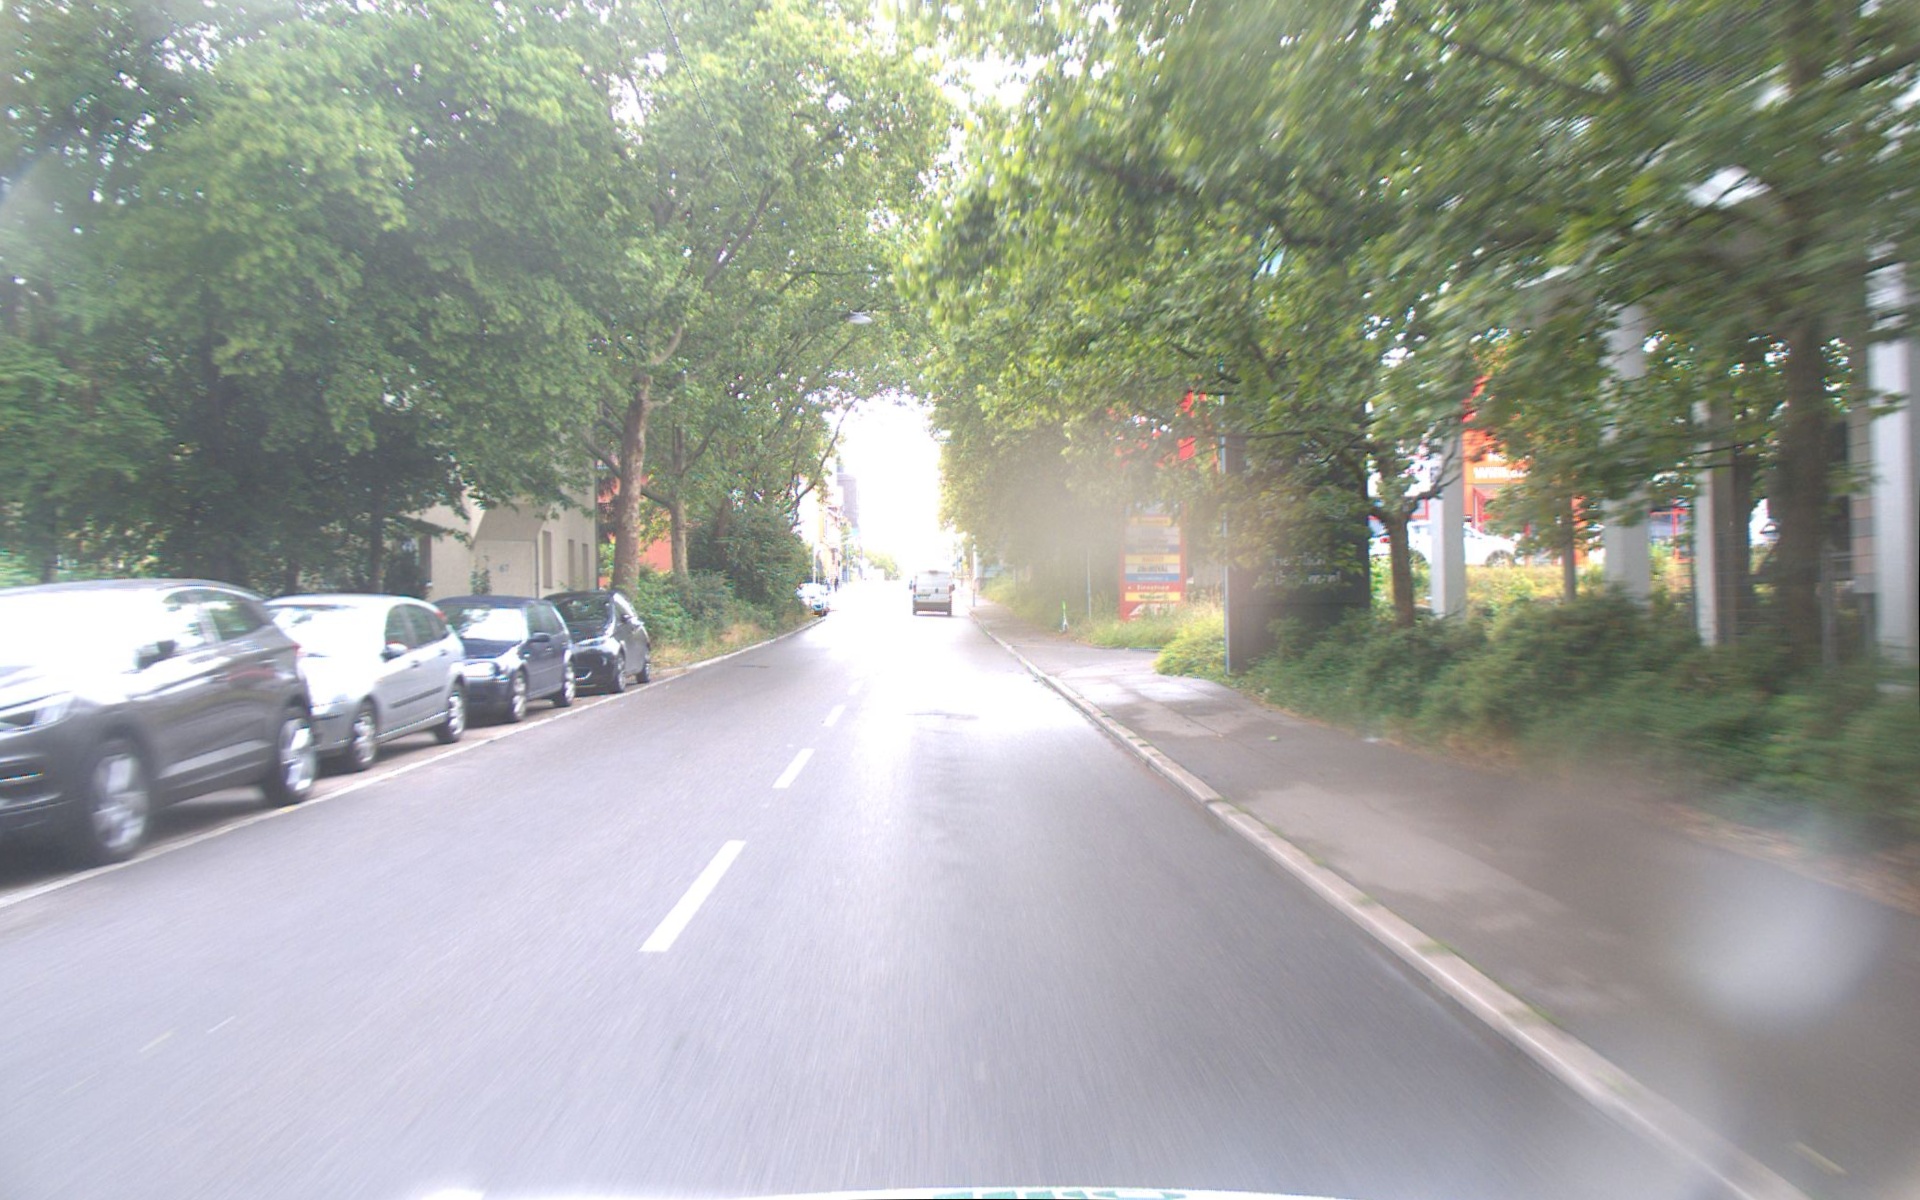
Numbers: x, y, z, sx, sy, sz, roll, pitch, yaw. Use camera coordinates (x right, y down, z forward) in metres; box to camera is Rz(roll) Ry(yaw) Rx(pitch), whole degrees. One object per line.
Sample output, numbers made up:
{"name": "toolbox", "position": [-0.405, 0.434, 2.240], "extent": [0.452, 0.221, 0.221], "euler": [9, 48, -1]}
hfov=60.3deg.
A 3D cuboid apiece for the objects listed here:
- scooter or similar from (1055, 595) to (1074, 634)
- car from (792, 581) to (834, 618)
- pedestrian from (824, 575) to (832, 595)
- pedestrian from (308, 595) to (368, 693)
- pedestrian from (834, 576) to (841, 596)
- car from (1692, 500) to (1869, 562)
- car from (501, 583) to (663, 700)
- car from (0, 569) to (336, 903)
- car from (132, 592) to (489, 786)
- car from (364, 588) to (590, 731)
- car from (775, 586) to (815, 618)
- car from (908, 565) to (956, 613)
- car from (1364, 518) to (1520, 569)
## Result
{"name": "scooter or similar", "position": [3.243, 0.466, 51.296], "extent": [0.417, 1.162, 1.528], "euler": [1, -2, -3]}
{"name": "car", "position": [-7.152, -0.045, 80.575], "extent": [1.657, 1.568, 4.117], "euler": [-3, 1, -1]}
{"name": "pedestrian", "position": [-13.569, -1.574, 170.032], "extent": [0.657, 2.049, 0.942], "euler": [0, 0, 3]}
{"name": "pedestrian", "position": [-10.799, 0.776, 28.744], "extent": [0.575, 1.648, 1.021], "euler": [2, -3, 0]}
{"name": "pedestrian", "position": [-12.619, -1.441, 170.268], "extent": [0.657, 2.049, 0.942], "euler": [0, 0, 3]}
{"name": "car", "position": [25.636, -2.133, 51.758], "extent": [4.676, 1.814, 1.913], "euler": [-1, 0, -5]}
{"name": "car", "position": [-5.839, 0.591, 25.973], "extent": [1.615, 1.564, 4.017], "euler": [-4, 0, -2]}
{"name": "car", "position": [-5.492, 0.699, 10.129], "extent": [1.827, 1.619, 4.237], "euler": [-3, 0, -3]}
{"name": "car", "position": [-5.792, 0.710, 15.322], "extent": [1.638, 1.534, 4.123], "euler": [1, 0, 0]}
{"name": "car", "position": [-5.852, 0.657, 20.483], "extent": [1.638, 1.534, 3.873], "euler": [-2, 0, -1]}
{"name": "car", "position": [-7.446, 0.087, 75.066], "extent": [1.606, 1.397, 3.757], "euler": [0, 1, -3]}
{"name": "car", "position": [-1.402, -0.507, 83.465], "extent": [2.288, 2.270, 3.999], "euler": [-2, -1, -1]}
{"name": "car", "position": [14.048, -1.628, 48.352], "extent": [4.017, 1.400, 1.902], "euler": [0, 0, -1]}
